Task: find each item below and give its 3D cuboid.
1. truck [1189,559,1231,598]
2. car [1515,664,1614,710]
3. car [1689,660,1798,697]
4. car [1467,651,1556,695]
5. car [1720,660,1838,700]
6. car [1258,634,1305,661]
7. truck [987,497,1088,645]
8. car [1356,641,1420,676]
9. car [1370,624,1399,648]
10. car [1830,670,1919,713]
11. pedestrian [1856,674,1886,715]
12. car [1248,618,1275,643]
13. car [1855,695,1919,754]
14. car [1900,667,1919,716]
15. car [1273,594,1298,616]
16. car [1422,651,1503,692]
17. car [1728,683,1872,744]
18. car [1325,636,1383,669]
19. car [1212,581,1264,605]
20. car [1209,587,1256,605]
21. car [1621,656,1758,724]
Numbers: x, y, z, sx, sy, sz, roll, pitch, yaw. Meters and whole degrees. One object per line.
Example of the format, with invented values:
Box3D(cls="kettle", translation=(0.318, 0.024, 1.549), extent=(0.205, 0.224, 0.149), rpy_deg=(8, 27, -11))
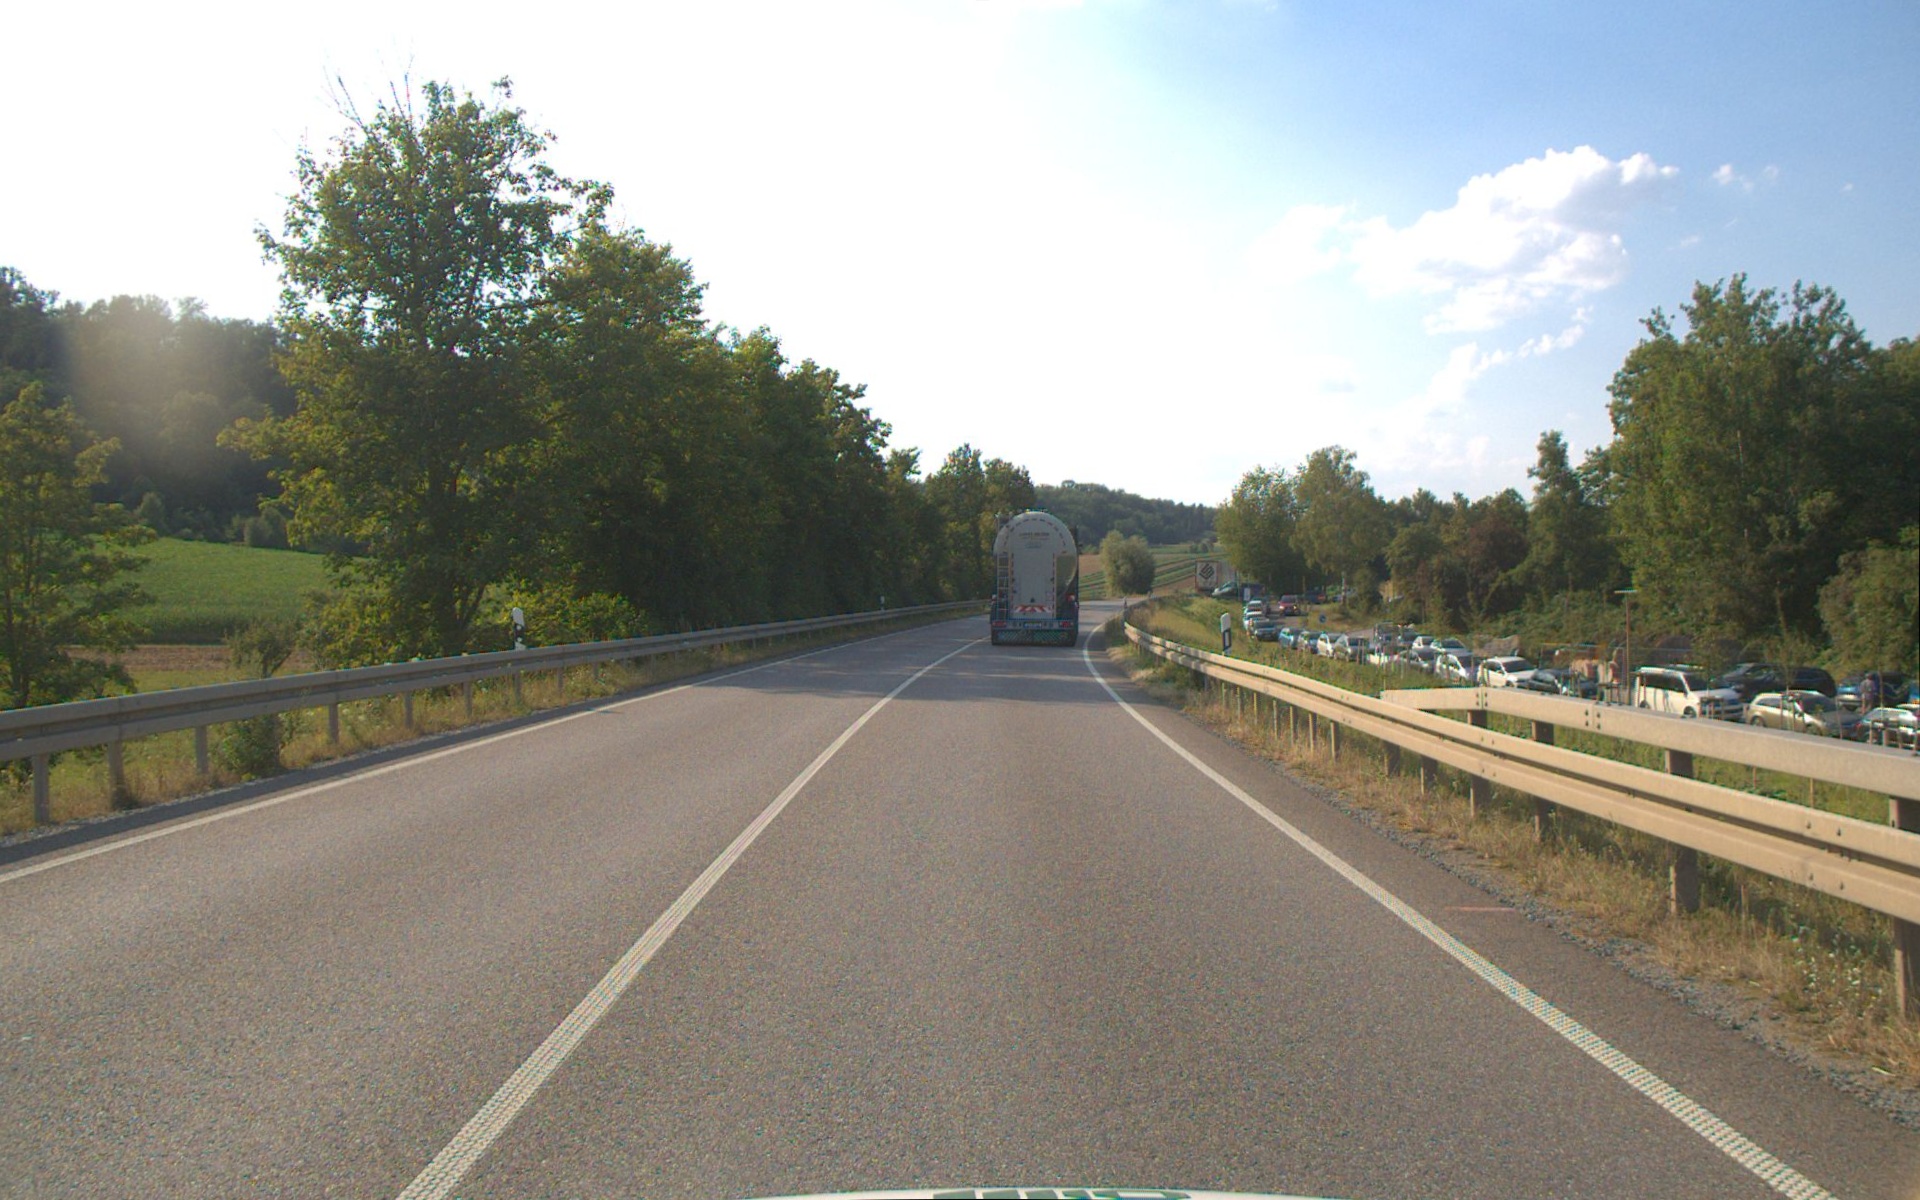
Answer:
Box3D(cls="truck", translation=(28.907, -2.532, 190.868), extent=(3.116, 4.301, 13.182), rpy_deg=(0, 1, 16))
Box3D(cls="car", translation=(26.074, 3.714, 71.512), extent=(1.858, 1.508, 4.772), rpy_deg=(-4, 2, -10))
Box3D(cls="car", translation=(35.167, 3.511, 74.269), extent=(4.156, 1.516, 1.829), rpy_deg=(0, 0, -10))
Box3D(cls="car", translation=(25.751, 3.392, 77.396), extent=(1.858, 1.586, 4.772), rpy_deg=(-4, 2, -10))
Box3D(cls="car", translation=(35.223, 3.439, 71.207), extent=(4.143, 1.515, 1.835), rpy_deg=(1, 3, 5))
Box3D(cls="car", translation=(22.831, 3.358, 117.779), extent=(1.856, 1.586, 4.776), rpy_deg=(-4, 2, -7))
Box3D(cls="truck", translation=(2.471, -0.878, 53.821), extent=(2.832, 4.215, 13.176), rpy_deg=(1, 0, 2))
Box3D(cls="car", translation=(24.463, 3.301, 94.758), extent=(1.856, 1.586, 4.776), rpy_deg=(-4, 2, -7))
Box3D(cls="car", translation=(30.860, 2.617, 120.167), extent=(1.665, 1.423, 4.788), rpy_deg=(-3, 0, 18))
Box3D(cls="car", translation=(37.280, 3.649, 66.156), extent=(4.157, 1.632, 1.829), rpy_deg=(1, 0, -11))
Box3D(cls="pedestrian", translation=(35.556, 3.688, 64.570), extent=(0.900, 1.496, 0.888), rpy_deg=(-2, 1, 24))
Box3D(cls="car", translation=(23.595, 2.398, 129.553), extent=(1.852, 1.586, 4.788), rpy_deg=(-3, 2, 8))
Box3D(cls="car", translation=(29.904, 3.872, 50.764), extent=(1.787, 1.508, 4.379), rpy_deg=(-2, 2, -14))
Box3D(cls="car", translation=(37.994, 3.464, 62.593), extent=(4.164, 1.773, 1.826), rpy_deg=(0, 1, -16))
Box3D(cls="car", translation=(30.260, 0.418, 153.921), extent=(1.852, 1.716, 5.092), rpy_deg=(-3, 2, 8))
Box3D(cls="car", translation=(25.131, 3.548, 82.844), extent=(1.858, 1.586, 4.772), rpy_deg=(-4, 2, -10))
Box3D(cls="car", translation=(28.503, 3.807, 56.290), extent=(1.858, 1.508, 4.772), rpy_deg=(-4, 2, -10))
Box3D(cls="car", translation=(24.022, 3.181, 100.992), extent=(1.856, 1.586, 4.776), rpy_deg=(-4, 2, -7))
Box3D(cls="car", translation=(28.515, -0.738, 169.521), extent=(5.032, 1.976, 1.977), rpy_deg=(6, 2, 12))
Box3D(cls="car", translation=(27.331, -0.396, 165.825), extent=(4.239, 1.423, 1.715), rpy_deg=(4, 2, -15))
Box3D(cls="car", translation=(27.631, 3.364, 62.879), extent=(2.081, 2.052, 5.367), rpy_deg=(-4, 2, -10))
